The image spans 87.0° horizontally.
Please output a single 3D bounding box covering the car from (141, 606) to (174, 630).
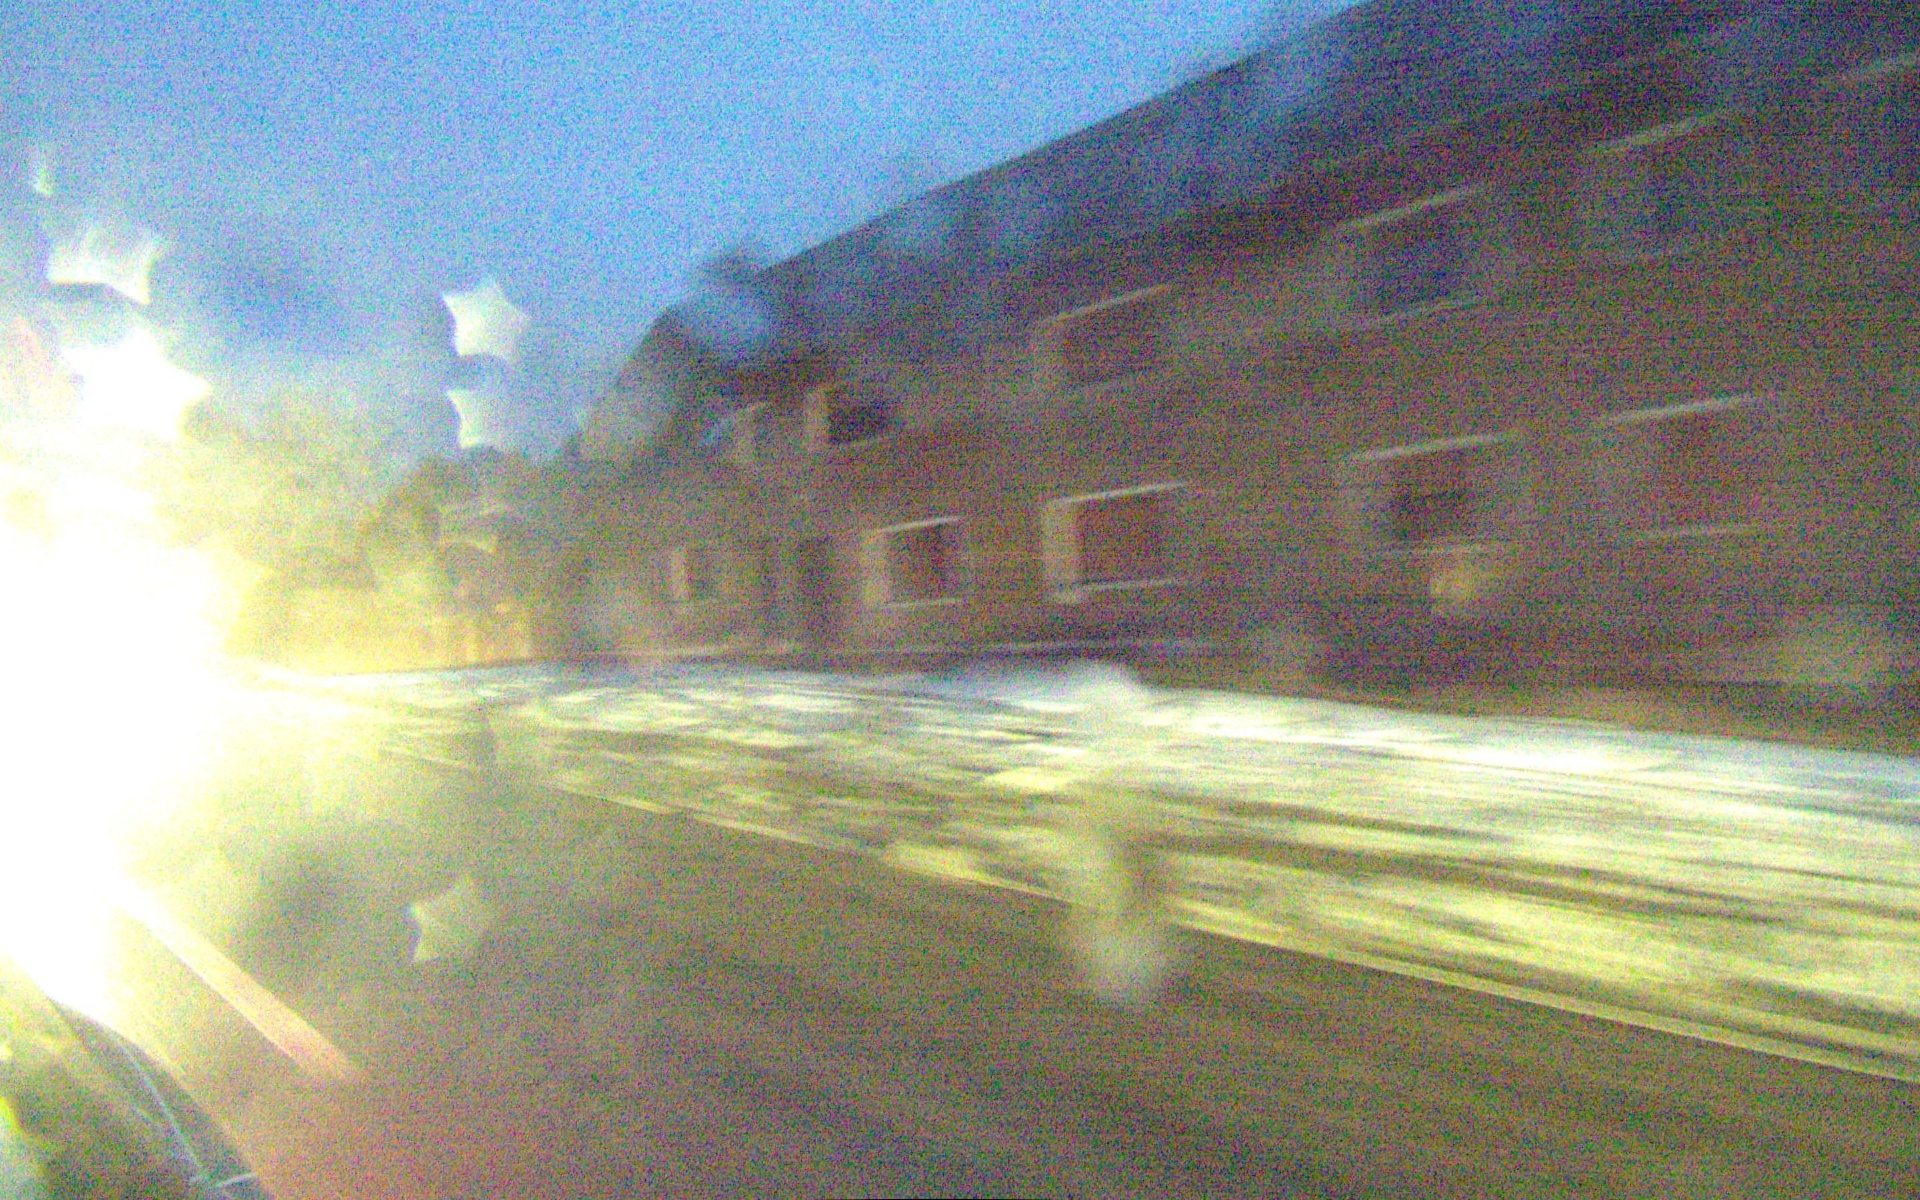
[{"bbox_3d":[-64.845,1.432,81.820,1.951,1.791,4.008,-3,2,-38],"label":"car"}]

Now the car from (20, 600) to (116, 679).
[{"bbox_3d":[-26.773,1.116,30.323,1.896,2.072,4.892,-3,2,-43],"label":"car"}]
